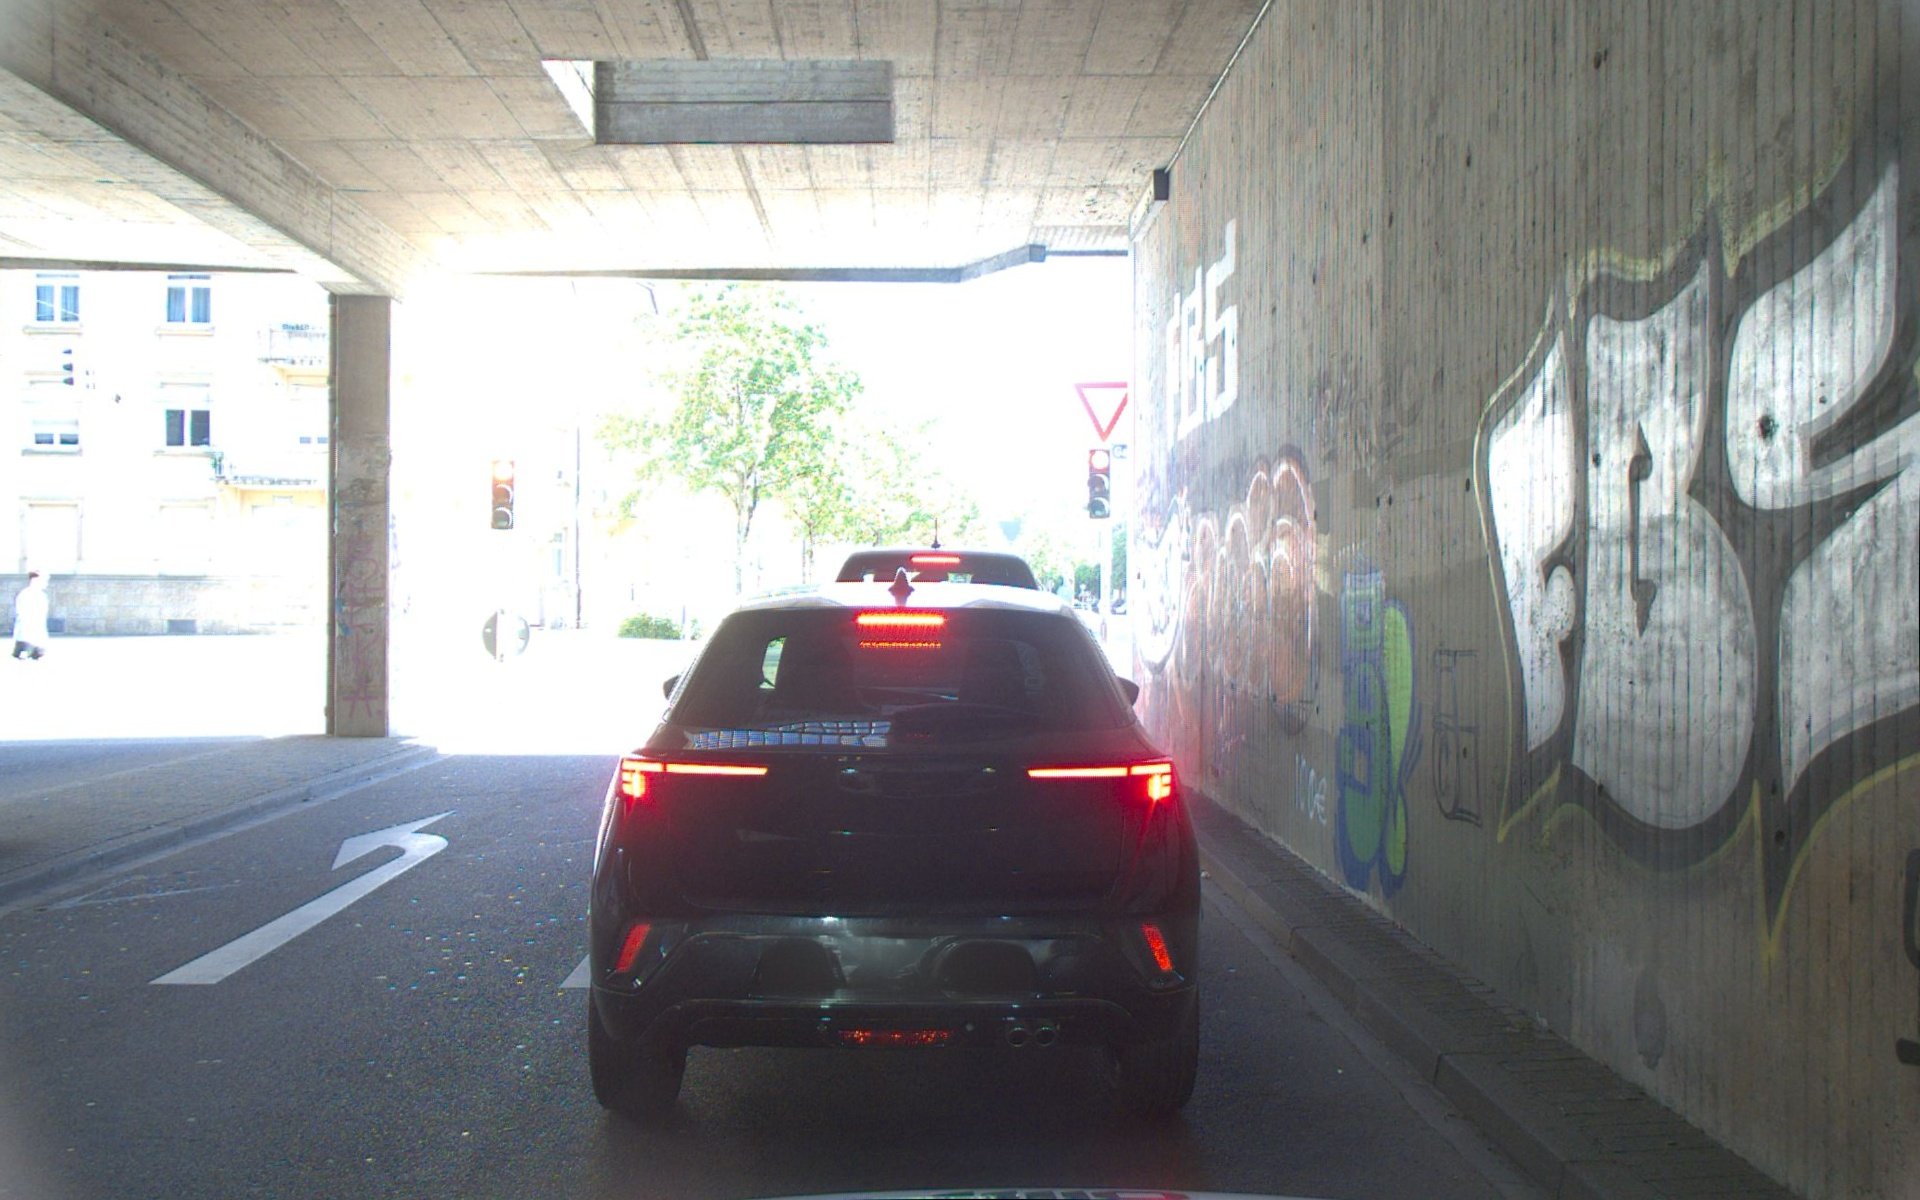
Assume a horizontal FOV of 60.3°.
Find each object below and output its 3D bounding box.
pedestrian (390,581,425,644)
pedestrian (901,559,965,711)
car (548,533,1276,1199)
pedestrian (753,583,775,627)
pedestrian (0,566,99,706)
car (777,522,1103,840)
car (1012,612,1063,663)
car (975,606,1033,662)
[{"bbox_3d":[-14.738,0.341,44.158,0.658,1.666,0.740,1,-1,-1],"label":"pedestrian"},{"bbox_3d":[-0.322,0.414,19.808,0.716,1.764,0.874,1,-1,-1],"label":"pedestrian"},{"bbox_3d":[-0.141,0.607,5.984,1.729,1.598,4.000,1,1,-1],"label":"car"},{"bbox_3d":[-9.472,0.257,80.083,0.873,2.124,0.808,1,-1,7],"label":"pedestrian"},{"bbox_3d":[-12.006,0.471,21.757,0.910,1.792,0.794,1,-1,1],"label":"pedestrian"},{"bbox_3d":[-0.146,0.472,11.970,1.953,1.904,3.999,0,0,-1],"label":"car"},{"bbox_3d":[3.237,1.510,68.403,1.951,2.004,4.166,1,0,4],"label":"car"},{"bbox_3d":[1.700,1.246,62.231,1.951,2.004,4.166,1,0,4],"label":"car"}]
